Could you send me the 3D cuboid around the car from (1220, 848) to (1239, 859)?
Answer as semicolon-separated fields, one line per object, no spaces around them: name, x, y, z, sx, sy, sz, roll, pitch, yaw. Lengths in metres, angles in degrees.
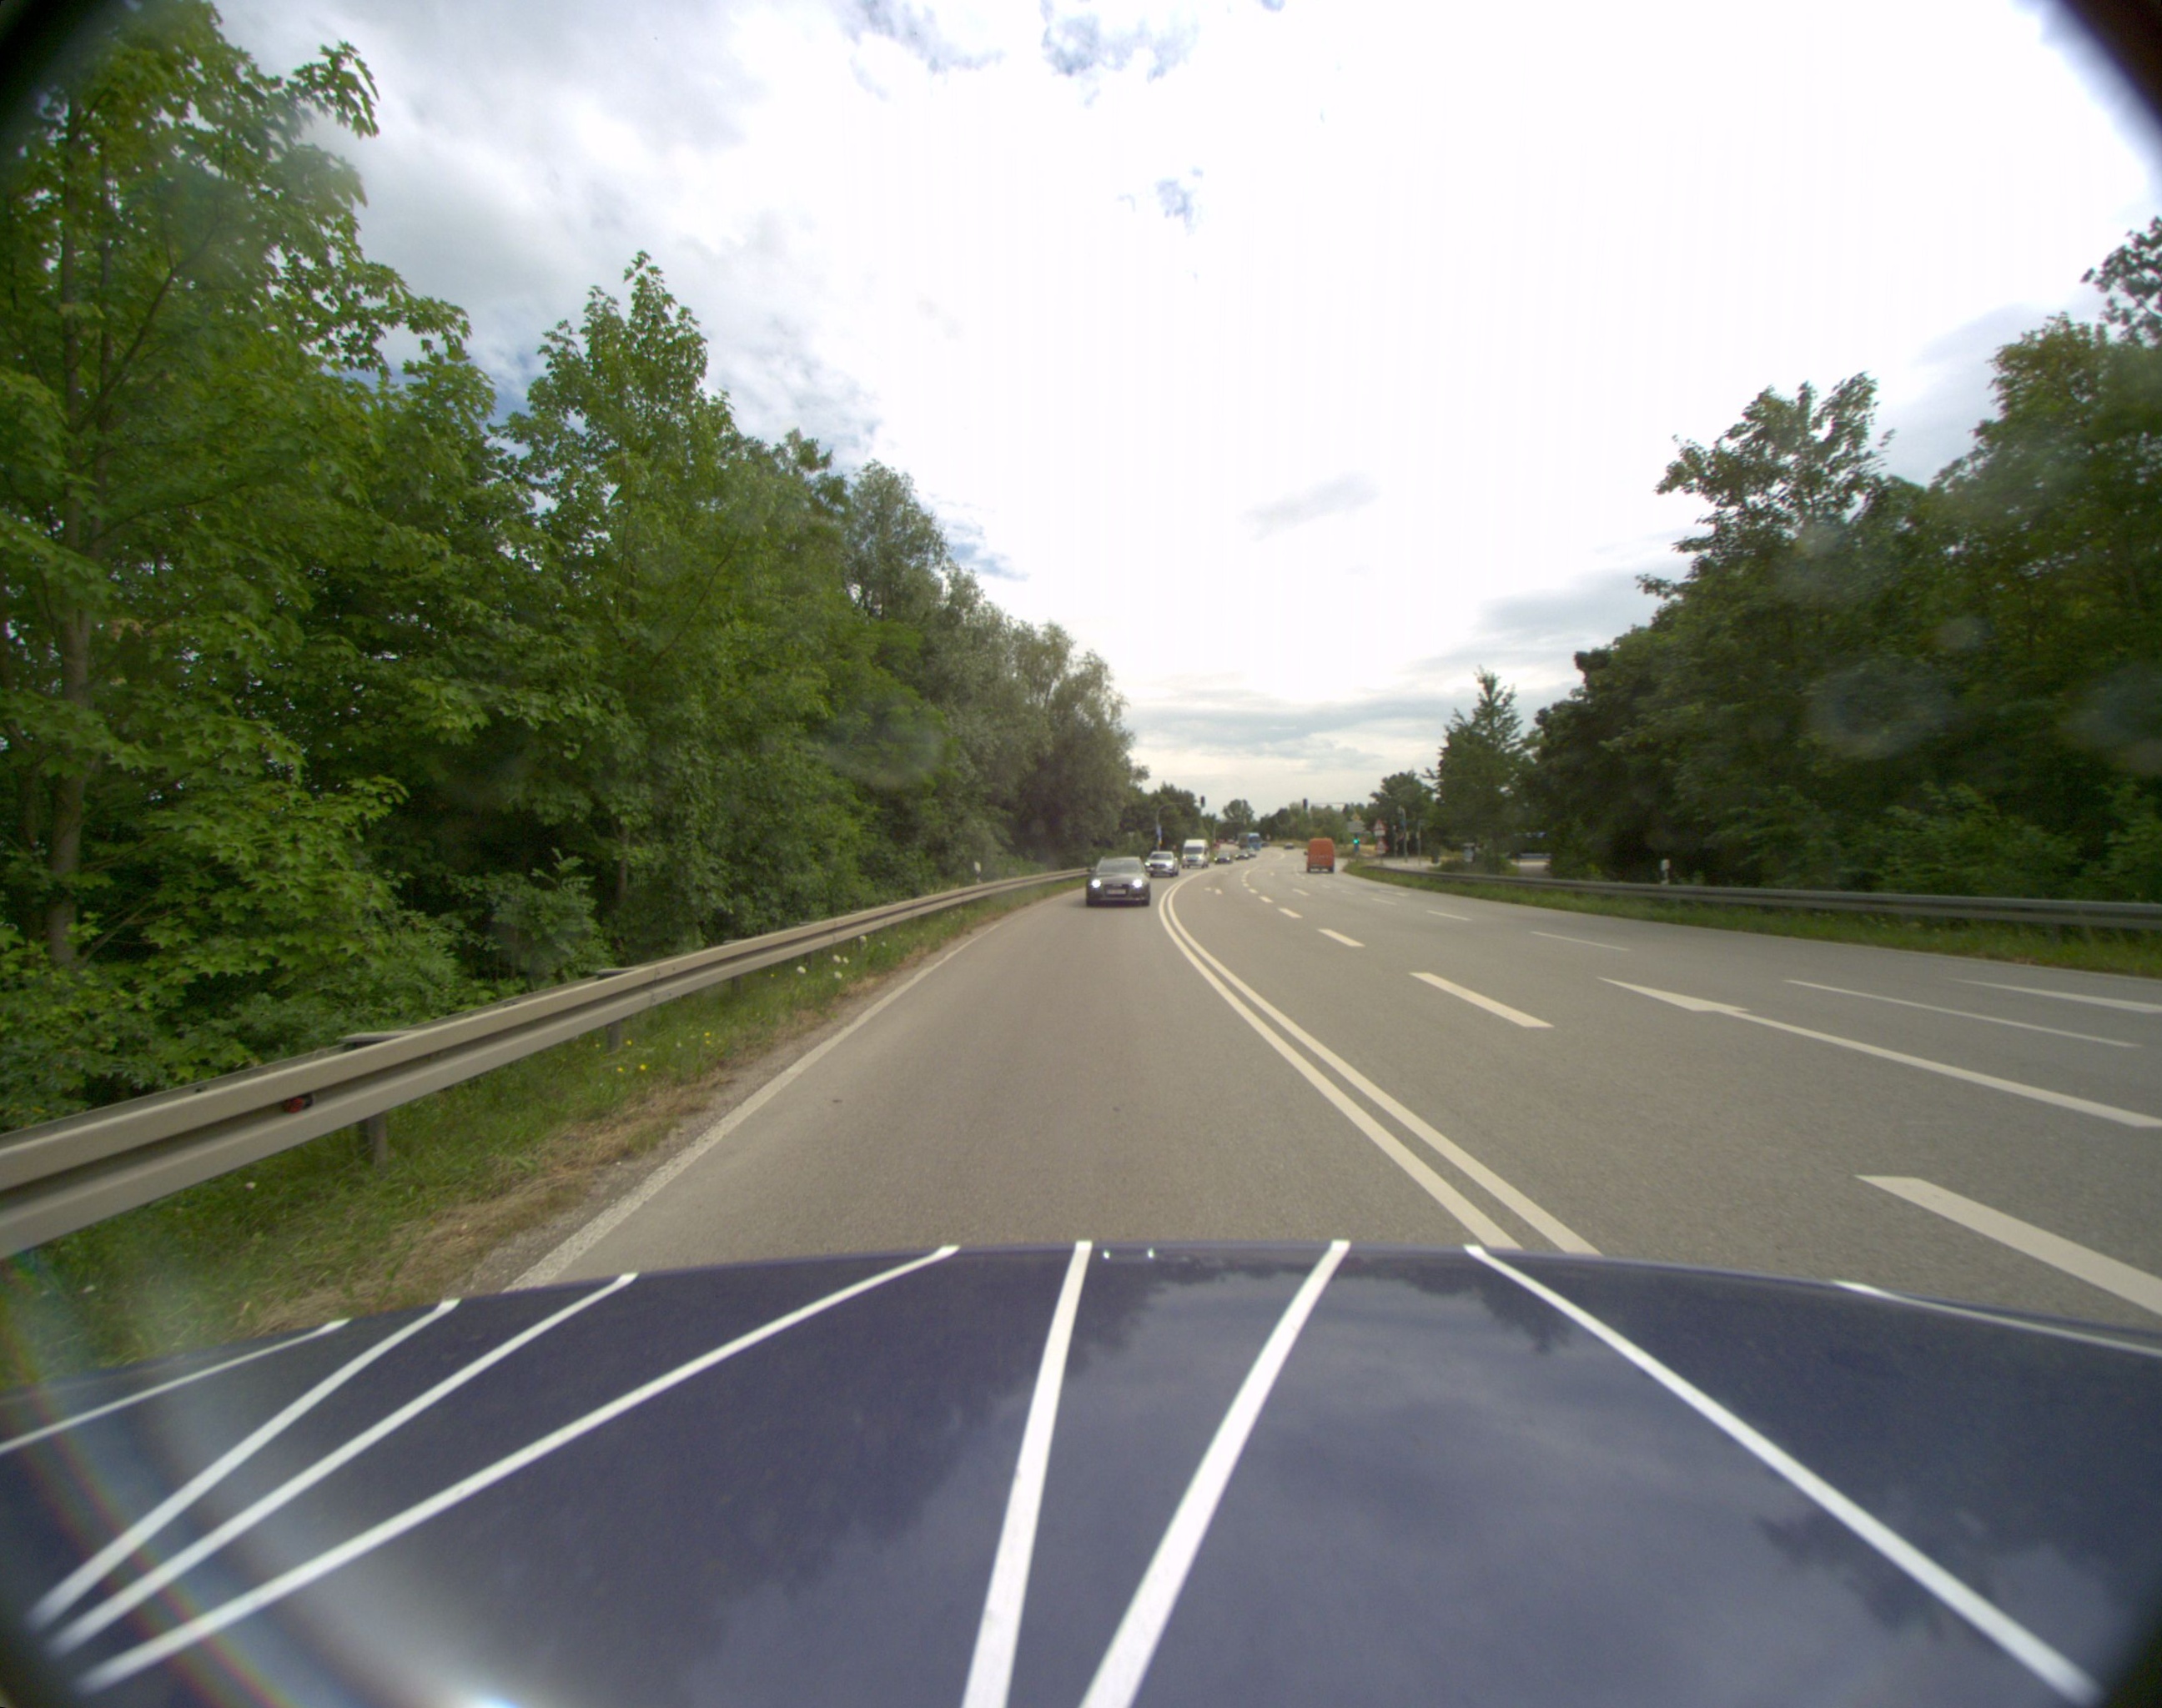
car;17.826;-0.045;91.049;1.741;1.317;4.005;2;1;18

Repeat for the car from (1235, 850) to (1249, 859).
car;23.977;0.064;113.207;1.742;1.317;4.004;1;1;15

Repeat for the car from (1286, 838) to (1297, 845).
car;47.133;-2.782;170.464;1.743;1.477;4.202;-1;1;7

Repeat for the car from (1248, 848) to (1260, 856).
car;28.576;-0.322;125.591;1.743;1.317;4.003;1;1;10

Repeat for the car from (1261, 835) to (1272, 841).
car;48.265;-4.181;197.614;1.744;1.377;3.998;-4;1;-3

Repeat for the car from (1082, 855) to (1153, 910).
car;1.251;0.799;23.773;1.964;1.447;4.798;-1;1;6

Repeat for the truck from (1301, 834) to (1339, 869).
truck;18.735;-0.217;59.815;2.319;2.586;6.028;1;1;12

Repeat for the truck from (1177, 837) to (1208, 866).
truck;10.631;-0.278;72.088;2.376;2.579;6.004;0;1;13

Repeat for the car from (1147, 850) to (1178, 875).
car;5.277;0.493;49.093;1.825;1.489;4.226;1;1;8

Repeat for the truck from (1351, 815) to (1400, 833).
truck;78.909;-8.211;204.087;3.366;4.303;14.175;-2;5;-22

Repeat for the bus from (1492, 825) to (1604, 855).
bus;50.848;-1.475;83.023;10.060;3.029;3.123;-1;1;7

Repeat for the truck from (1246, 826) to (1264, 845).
truck;40.977;-4.255;179.138;3.025;4.325;9.573;-1;1;5
